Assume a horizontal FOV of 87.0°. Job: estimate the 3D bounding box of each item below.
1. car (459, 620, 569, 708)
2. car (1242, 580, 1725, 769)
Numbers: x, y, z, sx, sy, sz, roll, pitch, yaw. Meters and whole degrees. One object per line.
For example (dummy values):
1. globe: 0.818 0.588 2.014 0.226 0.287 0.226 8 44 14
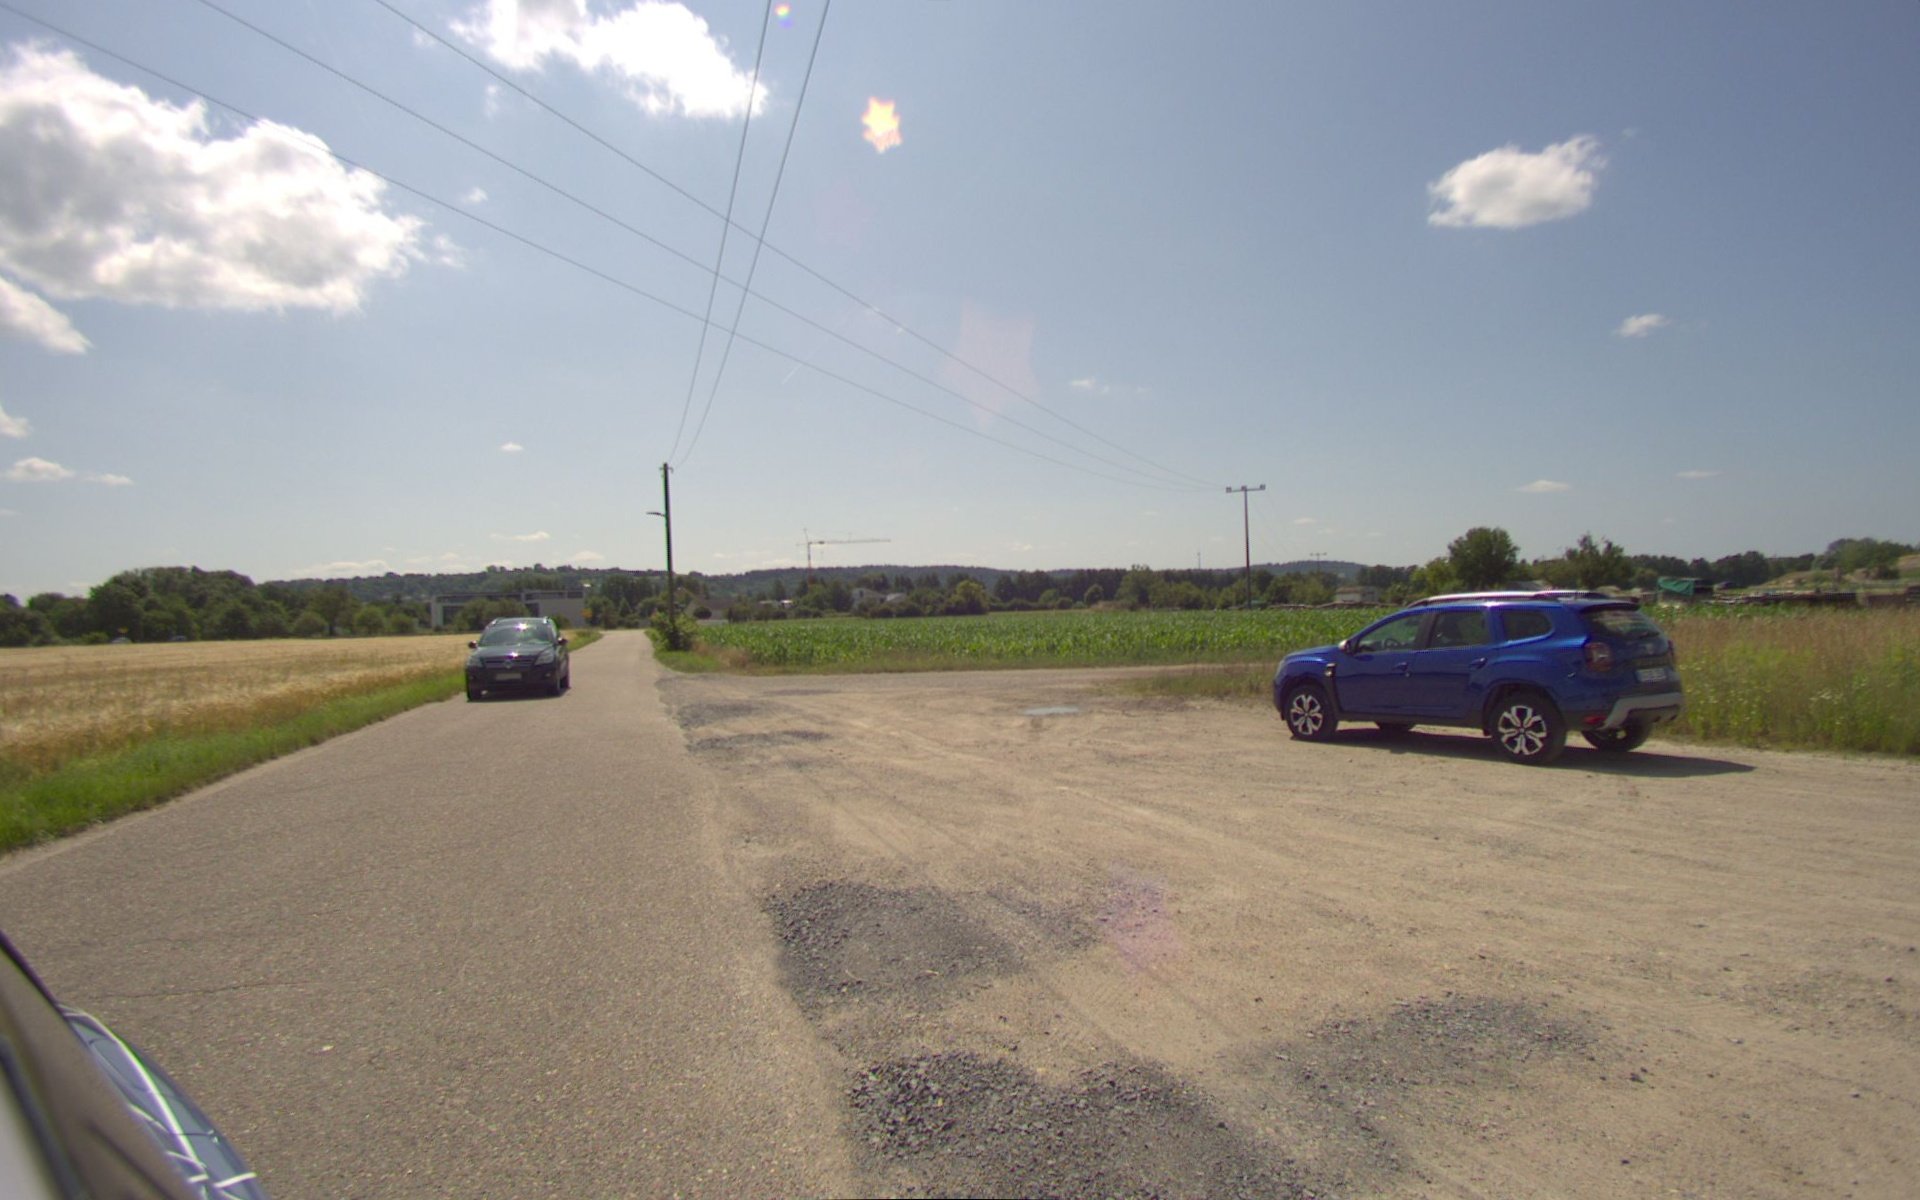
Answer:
1. car: -9.639 1.330 22.149 1.719 1.692 4.268 -1 -2 -18
2. car: 5.514 0.750 11.357 1.833 1.673 4.472 -1 -2 -30
